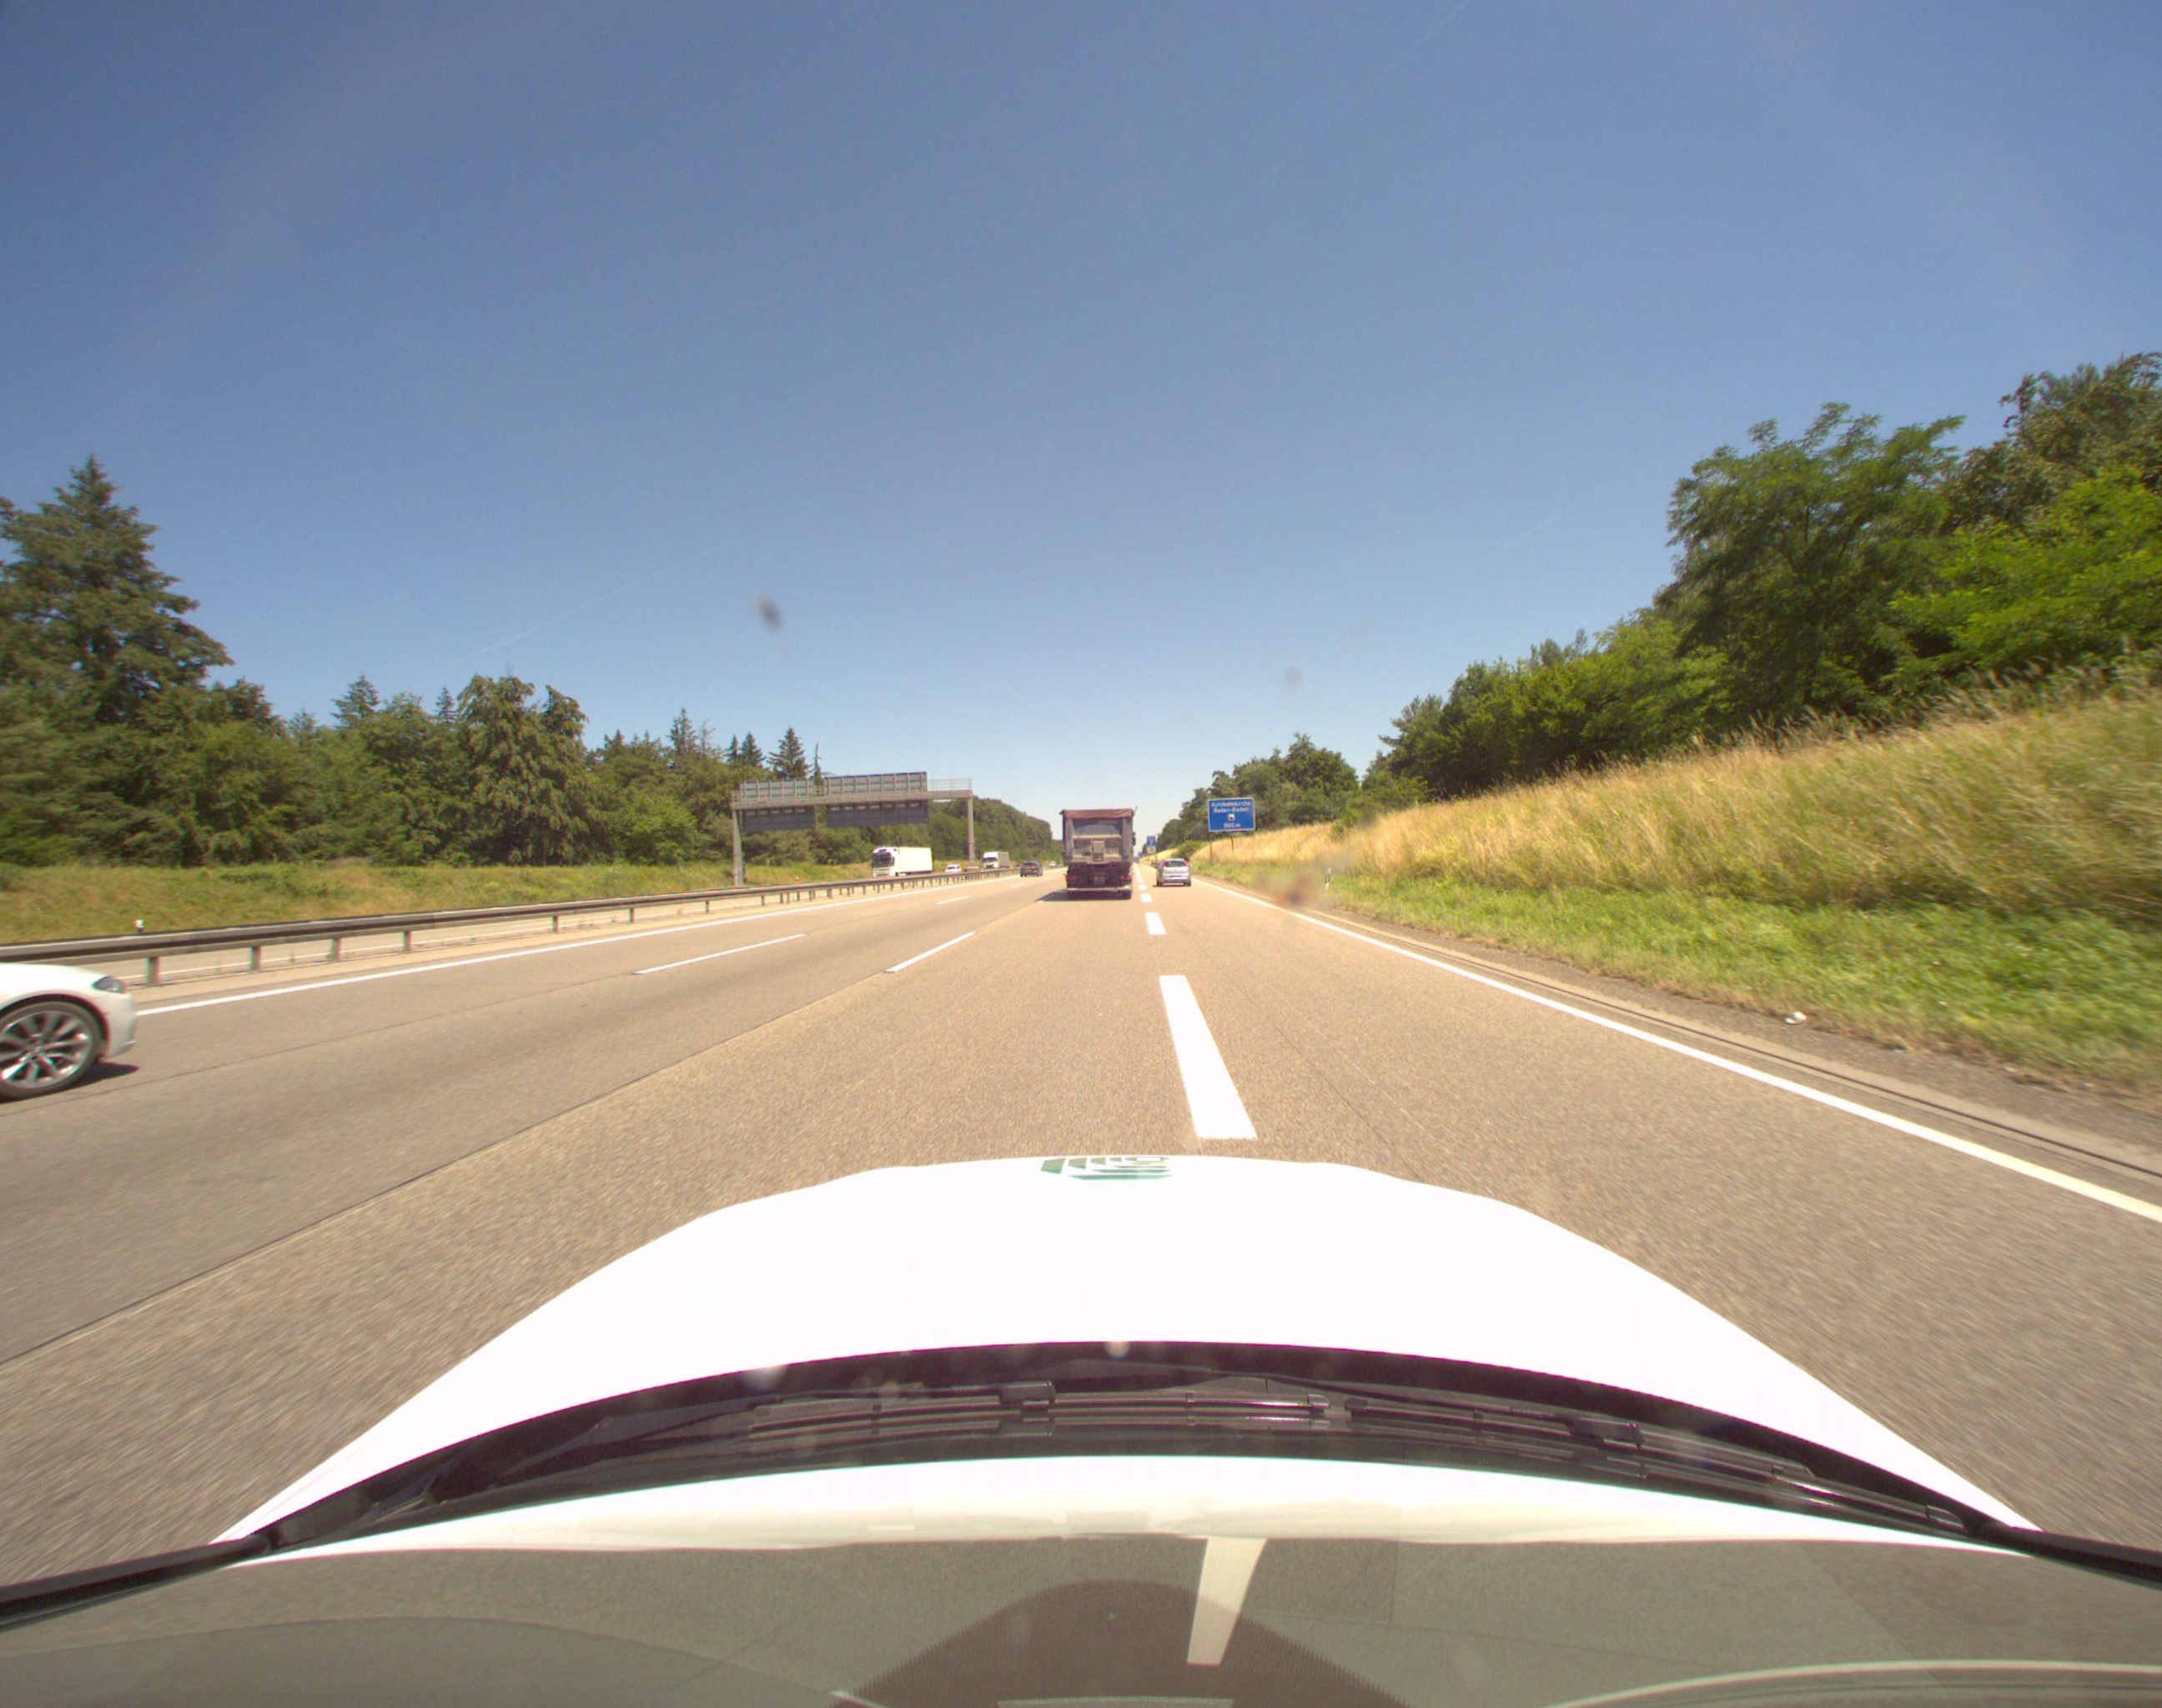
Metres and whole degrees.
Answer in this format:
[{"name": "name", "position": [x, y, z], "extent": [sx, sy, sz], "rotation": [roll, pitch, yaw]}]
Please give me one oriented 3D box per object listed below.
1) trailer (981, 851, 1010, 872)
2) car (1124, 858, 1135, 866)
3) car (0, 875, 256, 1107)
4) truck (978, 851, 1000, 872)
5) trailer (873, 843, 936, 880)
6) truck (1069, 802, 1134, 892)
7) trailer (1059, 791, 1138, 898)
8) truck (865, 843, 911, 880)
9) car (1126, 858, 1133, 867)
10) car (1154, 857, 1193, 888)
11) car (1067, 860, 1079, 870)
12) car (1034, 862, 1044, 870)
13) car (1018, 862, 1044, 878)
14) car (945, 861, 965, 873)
[{"name": "trailer", "position": [-17.212, 1.537, 165.271], "extent": [3.153, 3.931, 13.984], "rotation": [-1, -1, 6]}, {"name": "car", "position": [8.956, 1.470, 150.212], "extent": [1.812, 1.492, 3.743], "rotation": [-1, -1, 6]}, {"name": "car", "position": [-8.179, 0.925, 4.282], "extent": [1.955, 1.504, 5.409], "rotation": [-1, -1, 3]}, {"name": "truck", "position": [-17.852, 1.469, 158.694], "extent": [3.153, 3.931, 5.408], "rotation": [-1, -1, 5]}, {"name": "trailer", "position": [-21.253, 0.903, 99.107], "extent": [3.199, 4.042, 14.381], "rotation": [-1, 0, 5]}, {"name": "truck", "position": [1.011, -0.305, 37.711], "extent": [2.674, 3.758, 5.948], "rotation": [-2, 0, 2]}, {"name": "trailer", "position": [0.838, -0.335, 33.623], "extent": [2.726, 3.758, 9.115], "rotation": [-2, 0, 3]}, {"name": "truck", "position": [-21.854, 0.867, 92.597], "extent": [3.199, 4.018, 6.224], "rotation": [-1, -1, 5]}, {"name": "car", "position": [10.665, 1.812, 178.668], "extent": [1.605, 2.014, 4.002], "rotation": [-1, 0, 3]}, {"name": "car", "position": [4.896, 0.951, 43.539], "extent": [1.713, 1.491, 3.738], "rotation": [-1, 0, 1]}, {"name": "car", "position": [-1.251, 1.861, 135.826], "extent": [1.696, 1.474, 4.600], "rotation": [-2, 0, 3]}, {"name": "car", "position": [-9.649, 2.771, 187.591], "extent": [1.838, 1.610, 4.926], "rotation": [-1, -1, 3]}, {"name": "car", "position": [-4.780, 1.476, 78.219], "extent": [1.824, 1.431, 5.004], "rotation": [-1, 0, 4]}, {"name": "car", "position": [-19.373, 1.973, 125.082], "extent": [1.985, 1.749, 4.995], "rotation": [-1, 0, 3]}]
